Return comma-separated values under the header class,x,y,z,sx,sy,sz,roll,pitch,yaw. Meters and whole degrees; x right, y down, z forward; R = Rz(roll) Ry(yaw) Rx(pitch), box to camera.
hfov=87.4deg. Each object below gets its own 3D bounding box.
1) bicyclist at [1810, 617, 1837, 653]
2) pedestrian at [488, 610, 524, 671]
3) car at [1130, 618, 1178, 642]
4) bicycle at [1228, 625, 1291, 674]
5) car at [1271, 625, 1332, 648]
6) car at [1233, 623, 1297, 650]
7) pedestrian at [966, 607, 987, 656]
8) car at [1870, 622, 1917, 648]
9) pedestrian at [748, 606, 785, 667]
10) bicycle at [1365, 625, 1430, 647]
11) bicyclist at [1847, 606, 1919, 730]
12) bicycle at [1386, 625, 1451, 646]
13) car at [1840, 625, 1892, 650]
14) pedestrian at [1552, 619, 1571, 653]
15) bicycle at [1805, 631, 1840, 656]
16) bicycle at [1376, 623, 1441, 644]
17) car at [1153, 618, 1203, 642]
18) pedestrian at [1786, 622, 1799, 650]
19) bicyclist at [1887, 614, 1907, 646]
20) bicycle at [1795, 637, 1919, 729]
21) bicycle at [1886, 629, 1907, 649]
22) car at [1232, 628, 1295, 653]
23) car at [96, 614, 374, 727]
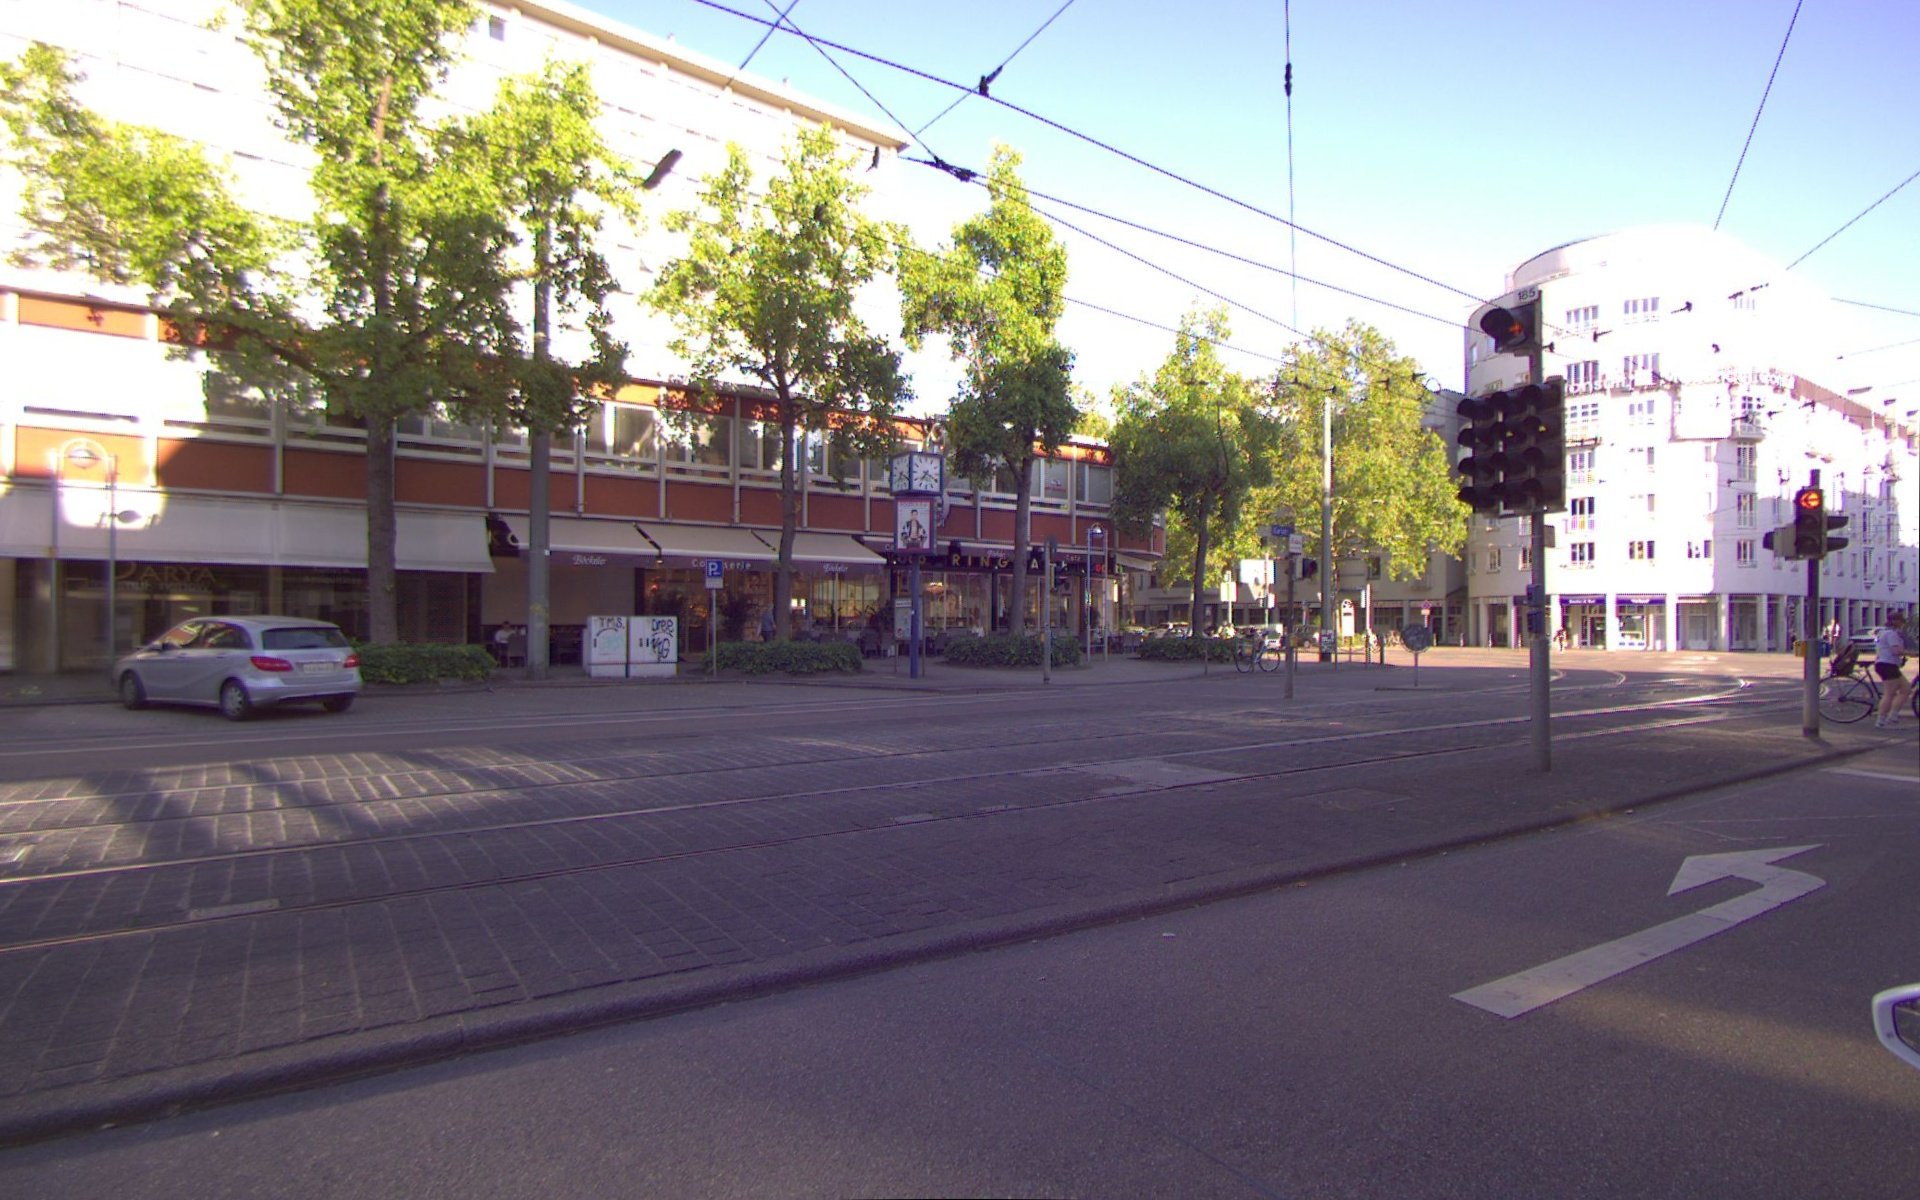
class,x,y,z,sx,sy,sz,roll,pitch,yaw
bicyclist,41.402,1.672,48.151,0.786,1.749,0.802,1,-1,-35
pedestrian,-12.048,1.071,26.637,0.699,1.584,0.866,1,-1,-35
car,17.026,2.616,88.079,3.957,1.990,1.982,1,-1,-33
bicycle,8.747,1.430,29.301,1.885,1.345,0.667,1,2,-33
car,23.549,2.515,69.355,1.597,1.551,3.969,0,-1,-29
car,18.462,2.224,61.011,1.606,1.579,3.997,0,-2,-22
pedestrian,0.595,1.118,36.378,0.590,1.745,0.647,0,1,-16
car,63.968,2.407,68.817,3.529,1.741,1.690,1,-2,-36
pedestrian,-5.635,1.042,29.252,0.867,1.745,0.699,0,1,-36
bicycle,32.152,2.605,73.927,1.054,1.550,4.679,1,-2,-31
bicyclist,12.884,0.921,13.998,0.761,1.648,0.722,1,0,-45
bicycle,34.284,2.642,75.246,1.054,1.550,4.679,1,-2,-31
car,58.032,2.402,64.336,3.426,1.566,1.754,1,-2,-35
pedestrian,36.259,2.156,60.563,0.929,2.040,0.939,0,-1,27
bicycle,41.261,2.090,48.035,2.029,1.162,0.802,1,-1,-36
bicycle,33.162,2.459,74.438,1.054,1.550,4.679,1,-2,-31
car,18.612,2.578,85.636,3.957,1.990,1.982,1,-1,-33
pedestrian,51.346,2.208,61.959,0.482,1.704,0.519,1,-1,-42
bicyclist,54.575,1.752,58.514,0.798,1.845,0.989,-1,-1,40
bicycle,13.081,1.163,14.130,0.624,1.193,1.998,1,0,-44
bicycle,54.725,2.275,58.705,0.798,1.162,2.001,-1,-2,40
car,16.813,2.244,55.823,1.739,1.312,4.012,0,-2,-9
car,-11.973,1.074,16.580,4.198,1.587,1.826,1,-1,24
